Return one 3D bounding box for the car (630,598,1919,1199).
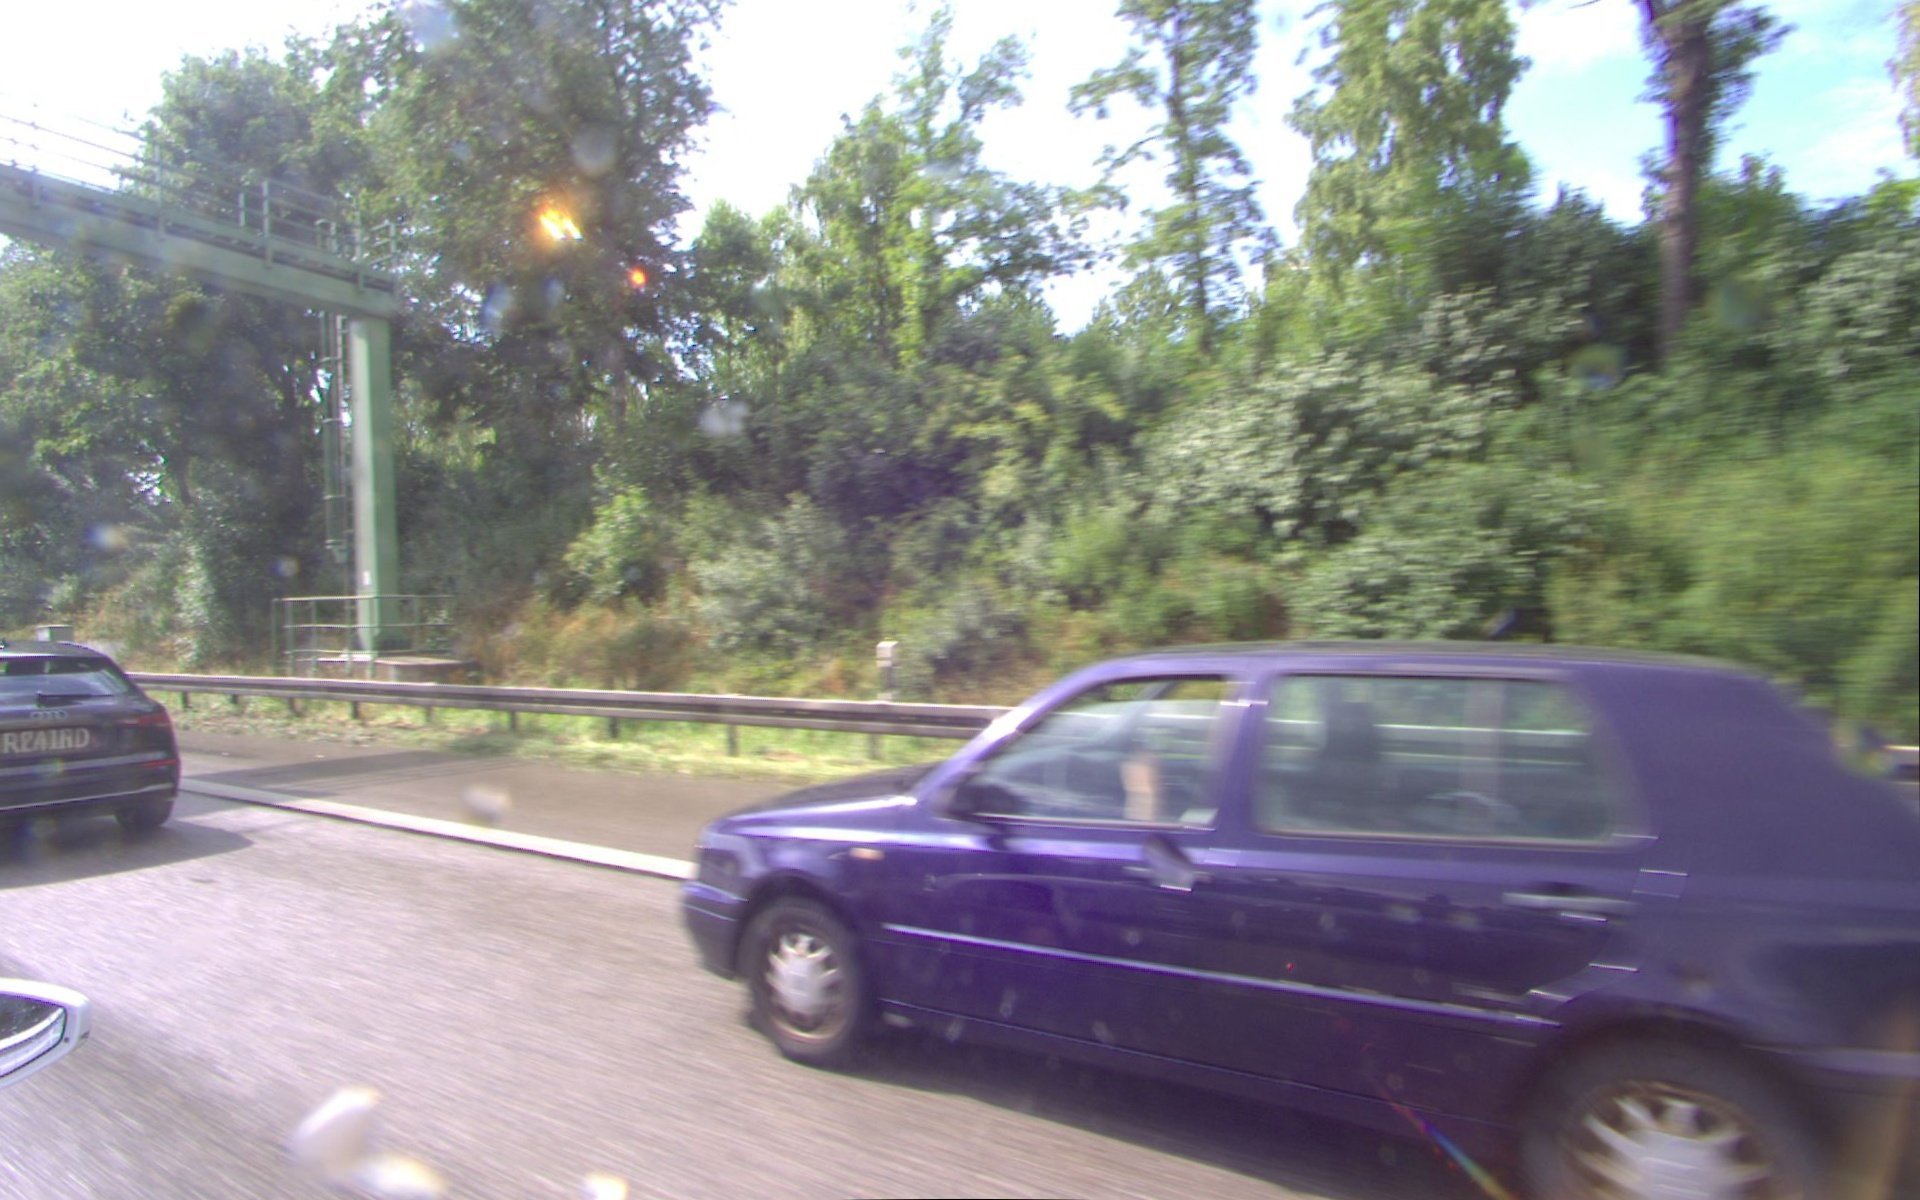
[{"bbox_3d":[0.782,0.779,3.456,3.689,1.475,1.648,-1,-1,31],"label":"car"}]

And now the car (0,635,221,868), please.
[{"bbox_3d":[-7.554,0.980,7.544,4.305,1.414,1.752,-1,-1,32],"label":"car"}]
